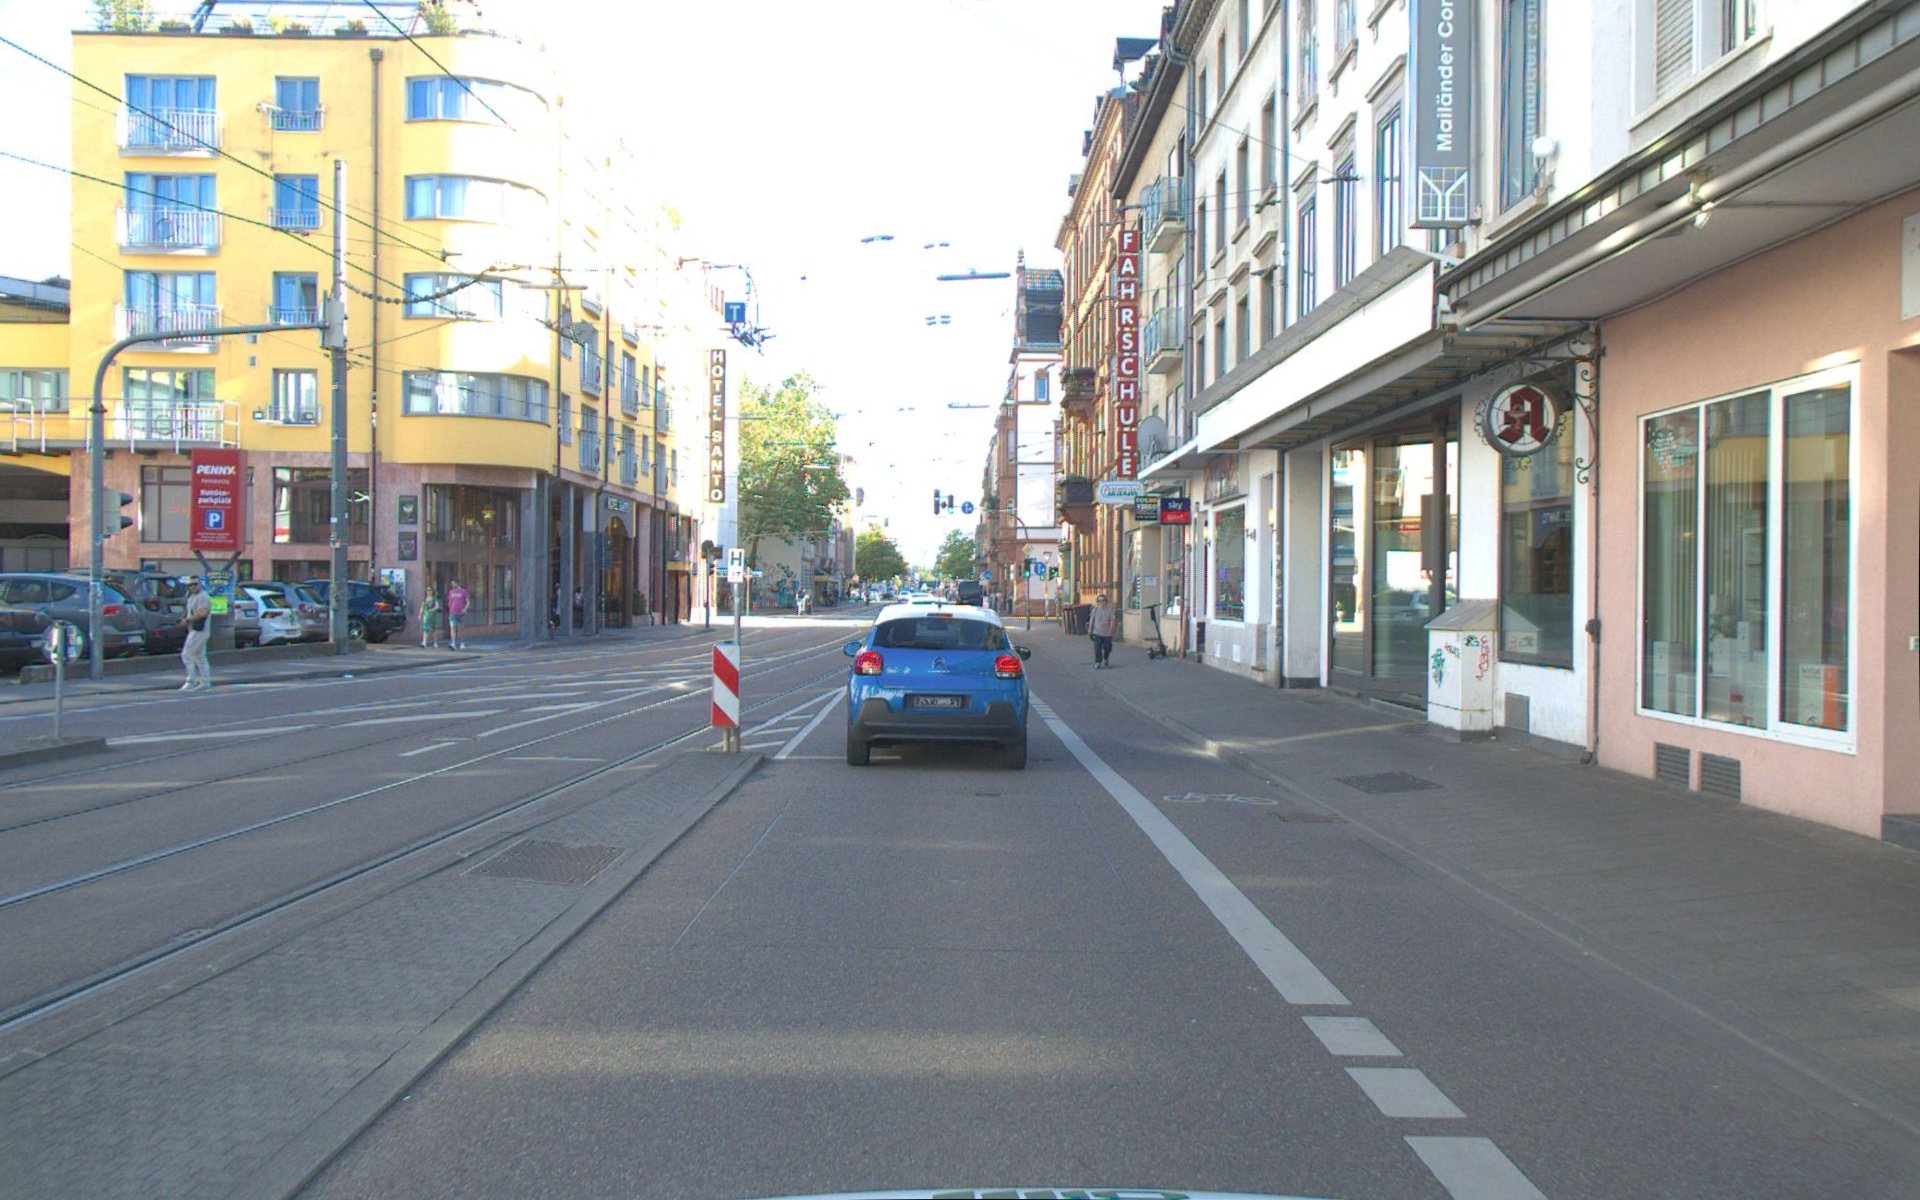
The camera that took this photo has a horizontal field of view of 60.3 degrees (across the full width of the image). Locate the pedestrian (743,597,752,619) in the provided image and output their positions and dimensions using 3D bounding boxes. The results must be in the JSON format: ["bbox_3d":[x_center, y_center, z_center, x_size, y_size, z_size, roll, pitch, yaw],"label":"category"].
[{"bbox_3d":[-14.831,0.558,115.463,0.531,1.579,0.516,0,0,-3],"label":"pedestrian"}]

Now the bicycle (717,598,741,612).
[{"bbox_3d":[-18.657,0.407,133.680,1.878,1.052,0.665,0,0,25],"label":"bicycle"}]

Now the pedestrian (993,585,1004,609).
[{"bbox_3d":[2.888,-0.230,123.708,0.691,1.813,0.672,2,-1,-3],"label":"pedestrian"}]

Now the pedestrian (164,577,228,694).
[{"bbox_3d":[-11.933,0.550,25.846,0.700,1.795,0.779,0,0,-8],"label":"pedestrian"}]

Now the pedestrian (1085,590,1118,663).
[{"bbox_3d":[3.117,0.583,36.391,0.635,1.587,0.781,0,0,-2],"label":"pedestrian"}]

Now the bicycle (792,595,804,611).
[{"bbox_3d":[-11.104,0.207,113.434,0.716,1.084,2.061,0,0,-2],"label":"bicycle"}]

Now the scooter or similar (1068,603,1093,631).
[{"bbox_3d":[4.370,0.609,60.124,0.774,0.974,0.680,-4,0,-3],"label":"scooter or similar"}]

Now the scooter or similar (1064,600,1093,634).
[{"bbox_3d":[4.359,0.610,60.706,0.915,1.168,0.650,-4,0,-3],"label":"scooter or similar"}]

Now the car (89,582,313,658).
[{"bbox_3d":[-16.951,0.464,37.083,4.147,1.638,1.785,0,-2,-1],"label":"car"}]

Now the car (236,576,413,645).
[{"bbox_3d":[-17.389,0.279,45.400,4.147,1.843,1.785,0,0,-1],"label":"car"}]

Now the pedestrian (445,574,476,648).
[{"bbox_3d":[-13.474,0.288,44.647,0.624,1.980,0.709,0,0,-2],"label":"pedestrian"}]

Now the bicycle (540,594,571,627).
[{"bbox_3d":[-15.742,0.398,64.436,0.569,1.224,2.081,0,0,3],"label":"bicycle"}]

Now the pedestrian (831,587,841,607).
[{"bbox_3d":[-11.463,-0.303,152.658,0.668,1.796,1.026,0,0,10],"label":"pedestrian"}]

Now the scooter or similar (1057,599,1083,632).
[{"bbox_3d":[4.107,0.587,61.809,0.879,1.168,0.547,-4,0,-3],"label":"scooter or similar"}]

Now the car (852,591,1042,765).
[{"bbox_3d":[-0.120,0.688,16.619,1.640,1.503,4.000,1,0,0],"label":"car"}]

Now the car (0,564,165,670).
[{"bbox_3d":[-16.745,0.287,29.602,4.147,1.843,1.785,0,0,-1],"label":"car"}]

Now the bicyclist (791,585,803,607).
[{"bbox_3d":[-10.519,-0.265,106.794,0.709,1.405,1.227,1,1,-2],"label":"bicyclist"}]

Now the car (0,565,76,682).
[{"bbox_3d":[-16.877,0.356,26.782,4.147,1.843,1.785,0,0,-1],"label":"car"}]

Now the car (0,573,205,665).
[{"bbox_3d":[-16.858,0.347,32.029,3.614,1.702,1.785,1,0,-1],"label":"car"}]

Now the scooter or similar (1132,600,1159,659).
[{"bbox_3d":[4.191,0.649,37.327,0.401,1.304,1.284,0,0,15],"label":"scooter or similar"}]

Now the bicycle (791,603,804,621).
[{"bbox_3d":[-10.519,0.759,106.958,0.716,1.107,2.061,0,0,-2],"label":"bicycle"}]

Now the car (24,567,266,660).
[{"bbox_3d":[-16.955,0.305,34.568,4.147,1.844,1.784,-1,-2,-1],"label":"car"}]

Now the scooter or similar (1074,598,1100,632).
[{"bbox_3d":[4.530,0.527,59.077,0.774,1.168,0.789,-4,0,-3],"label":"scooter or similar"}]

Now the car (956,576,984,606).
[{"bbox_3d":[0.805,-0.754,141.769,2.225,2.479,5.719,0,0,-1],"label":"car"}]

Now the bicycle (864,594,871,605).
[{"bbox_3d":[-10.028,-0.063,178.727,0.679,1.140,2.083,0,0,-2],"label":"bicycle"}]

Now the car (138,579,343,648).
[{"bbox_3d":[-17.254,0.349,39.805,4.147,1.575,1.785,-1,-2,-1],"label":"car"}]

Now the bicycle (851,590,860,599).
[{"bbox_3d":[-14.712,-0.802,233.199,1.099,1.342,3.639,0,0,-6],"label":"bicycle"}]

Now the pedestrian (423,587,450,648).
[{"bbox_3d":[-14.202,0.474,44.874,0.560,1.645,0.499,0,0,-2],"label":"pedestrian"}]

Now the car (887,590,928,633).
[{"bbox_3d":[-2.591,0.541,81.678,1.953,2.049,3.999,0,0,-2],"label":"car"}]

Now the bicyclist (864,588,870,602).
[{"bbox_3d":[-10.019,-0.549,178.568,0.668,1.509,0.778,0,0,-2],"label":"bicyclist"}]

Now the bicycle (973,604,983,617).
[{"bbox_3d":[1.310,0.753,121.530,0.423,0.964,1.760,0,0,-8],"label":"bicycle"}]

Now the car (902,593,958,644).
[{"bbox_3d":[-0.954,0.544,50.795,1.633,1.504,3.998,0,0,-2],"label":"car"}]
